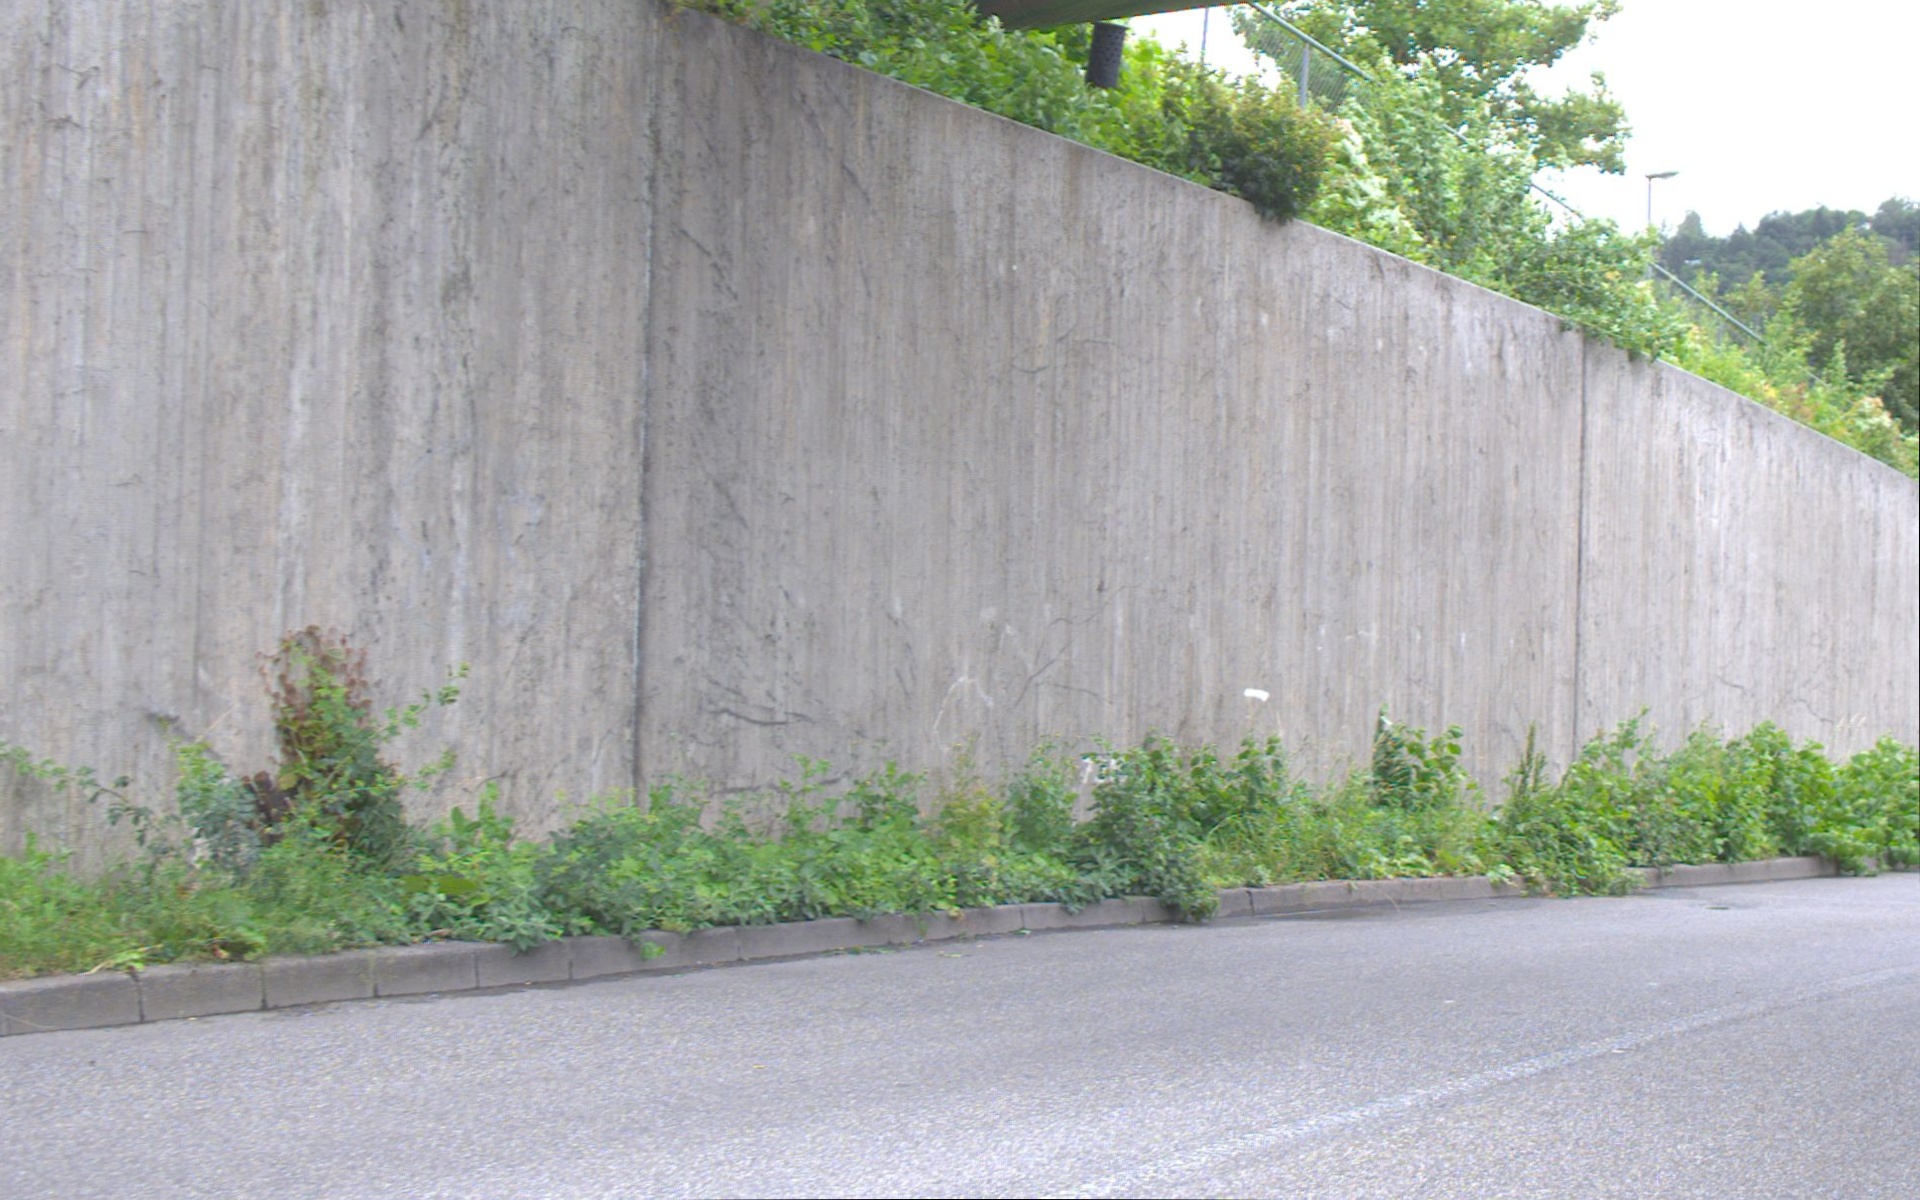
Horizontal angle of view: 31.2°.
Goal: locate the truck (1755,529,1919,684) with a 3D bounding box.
[{"bbox_3d":[24.101,0.275,85.383,7.840,3.527,3.052,2,-3,-2],"label":"truck"}]
